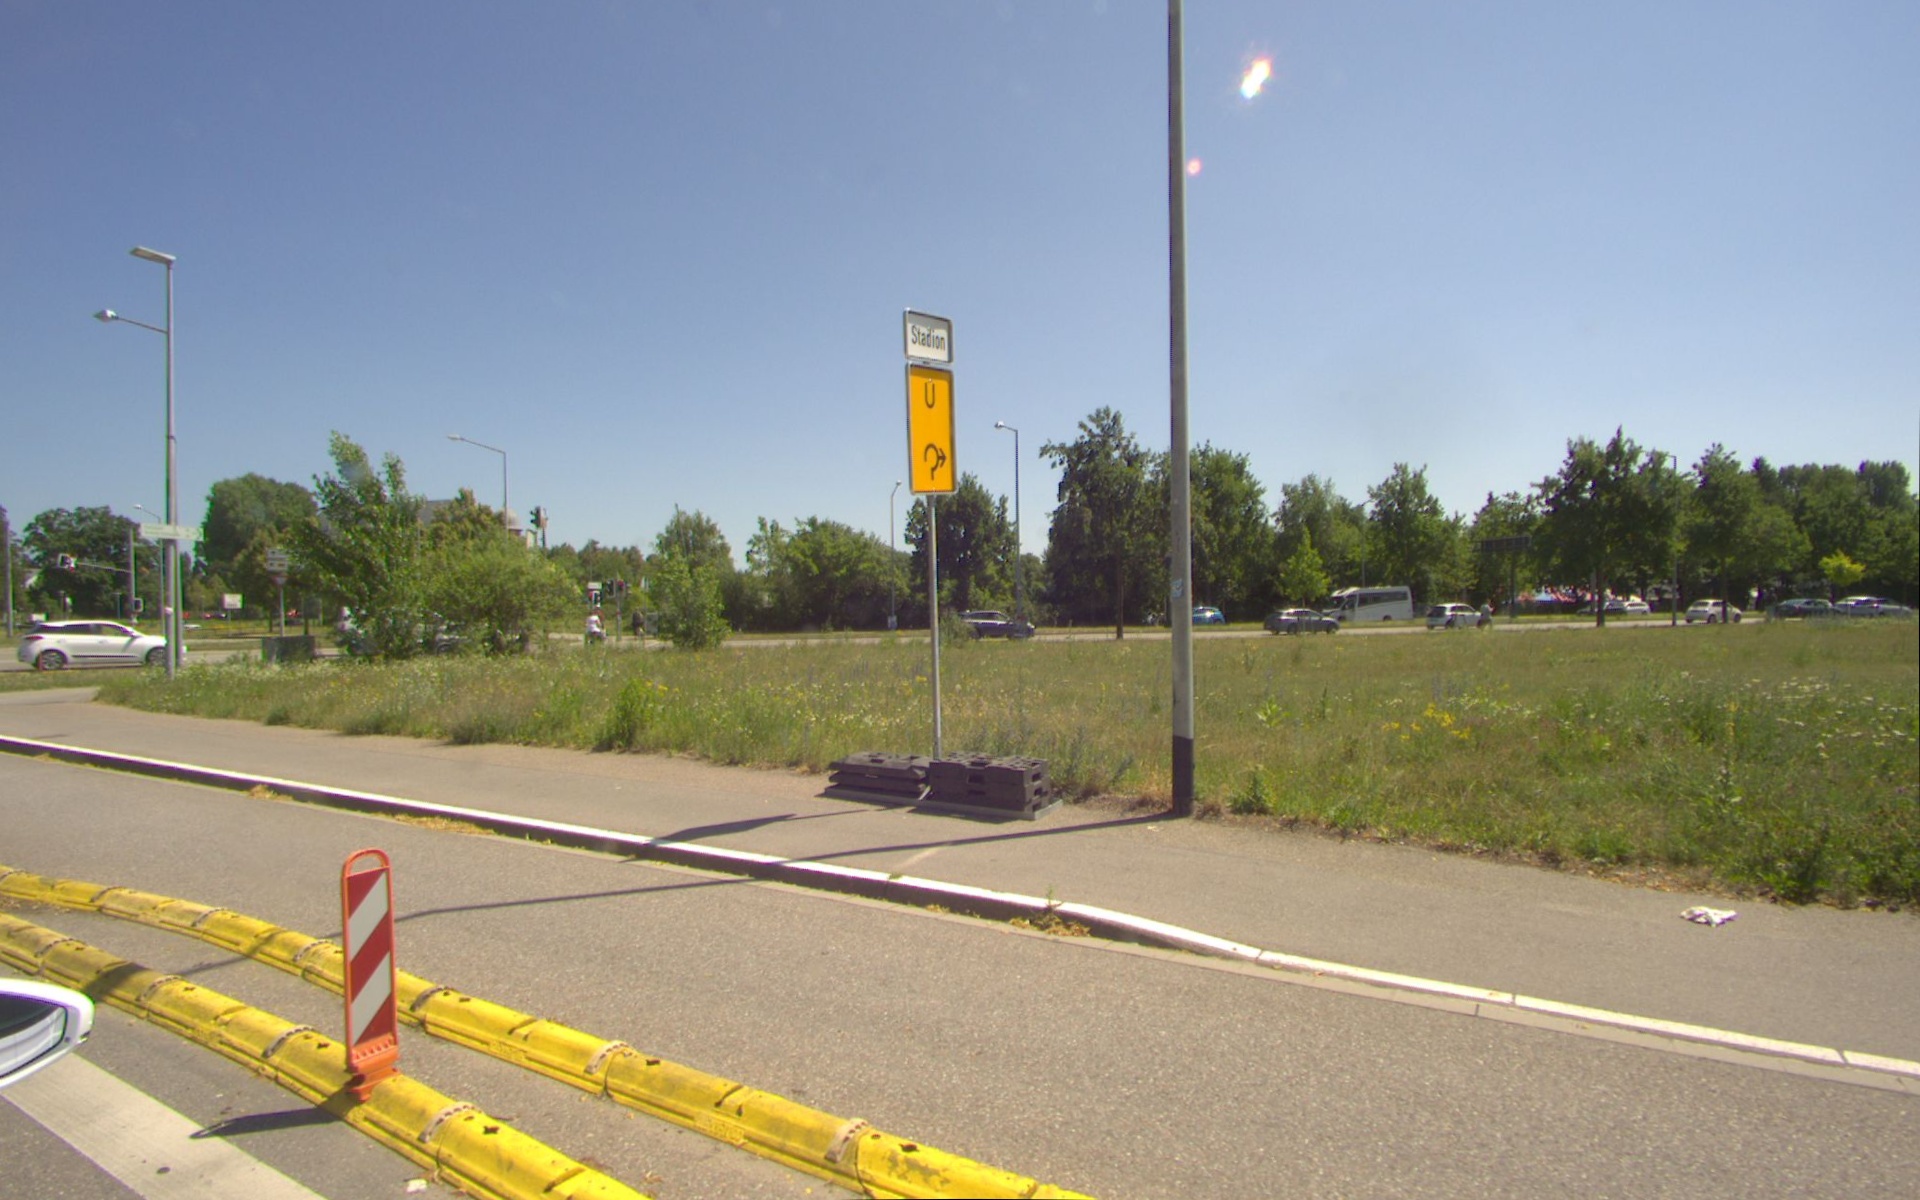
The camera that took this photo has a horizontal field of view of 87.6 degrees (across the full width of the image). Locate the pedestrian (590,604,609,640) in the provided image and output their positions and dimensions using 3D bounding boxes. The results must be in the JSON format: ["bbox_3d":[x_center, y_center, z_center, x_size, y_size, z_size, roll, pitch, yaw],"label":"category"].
[{"bbox_3d":[-19.193,1.171,53.323,0.726,1.894,0.648,-1,-1,34],"label":"pedestrian"}]

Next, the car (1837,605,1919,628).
[{"bbox_3d":[60.225,1.090,65.691,3.999,1.524,1.999,0,-1,-12],"label":"car"}]

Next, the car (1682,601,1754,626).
[{"bbox_3d":[49.342,0.887,65.210,3.928,1.572,1.738,0,-1,-16],"label":"car"}]

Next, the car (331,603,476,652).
[{"bbox_3d":[-22.529,1.088,40.643,4.929,1.874,1.984,1,-1,-39],"label":"car"}]

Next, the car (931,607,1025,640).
[{"bbox_3d":[0.893,1.179,50.690,4.370,1.616,1.996,0,-1,-19],"label":"car"}]

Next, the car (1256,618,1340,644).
[{"bbox_3d":[19.069,1.758,56.551,4.131,1.409,1.899,0,-1,-15],"label":"car"}]

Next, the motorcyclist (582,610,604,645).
[{"bbox_3d":[-13.784,1.036,37.618,0.570,1.306,0.615,0,-1,3],"label":"motorcyclist"}]

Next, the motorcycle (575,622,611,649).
[{"bbox_3d":[-13.758,1.326,37.572,0.619,0.982,1.709,0,-1,3],"label":"motorcycle"}]

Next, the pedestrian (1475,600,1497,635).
[{"bbox_3d":[23.883,0.807,45.482,0.724,1.583,0.497,0,-1,-18],"label":"pedestrian"}]

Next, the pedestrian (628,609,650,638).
[{"bbox_3d":[-17.155,1.261,53.590,0.811,1.583,0.790,-1,-1,33],"label":"pedestrian"}]

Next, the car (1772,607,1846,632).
[{"bbox_3d":[57.225,1.325,67.488,4.331,1.572,1.737,2,-2,-17],"label":"car"}]

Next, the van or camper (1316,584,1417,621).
[{"bbox_3d":[31.274,0.236,76.995,7.383,2.728,2.508,0,-1,-19],"label":"van or camper"}]

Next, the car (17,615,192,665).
[{"bbox_3d":[-26.736,1.225,31.382,1.614,1.463,3.990,-1,-2,40],"label":"car"}]

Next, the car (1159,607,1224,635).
[{"bbox_3d":[16.045,1.465,69.593,3.927,1.861,1.998,0,-1,-15],"label":"car"}]

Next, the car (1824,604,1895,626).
[{"bbox_3d":[65.932,1.126,73.381,4.559,1.572,1.738,0,-1,-16],"label":"car"}]

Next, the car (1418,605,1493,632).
[{"bbox_3d":[30.137,1.132,60.908,3.928,1.572,1.738,0,-1,-16],"label":"car"}]

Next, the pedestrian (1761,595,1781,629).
[{"bbox_3d":[41.294,0.615,50.982,0.724,1.712,0.497,0,0,-18],"label":"pedestrian"}]

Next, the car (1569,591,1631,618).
[{"bbox_3d":[49.388,0.342,77.283,3.930,2.040,1.996,0,-1,-18],"label":"car"}]
